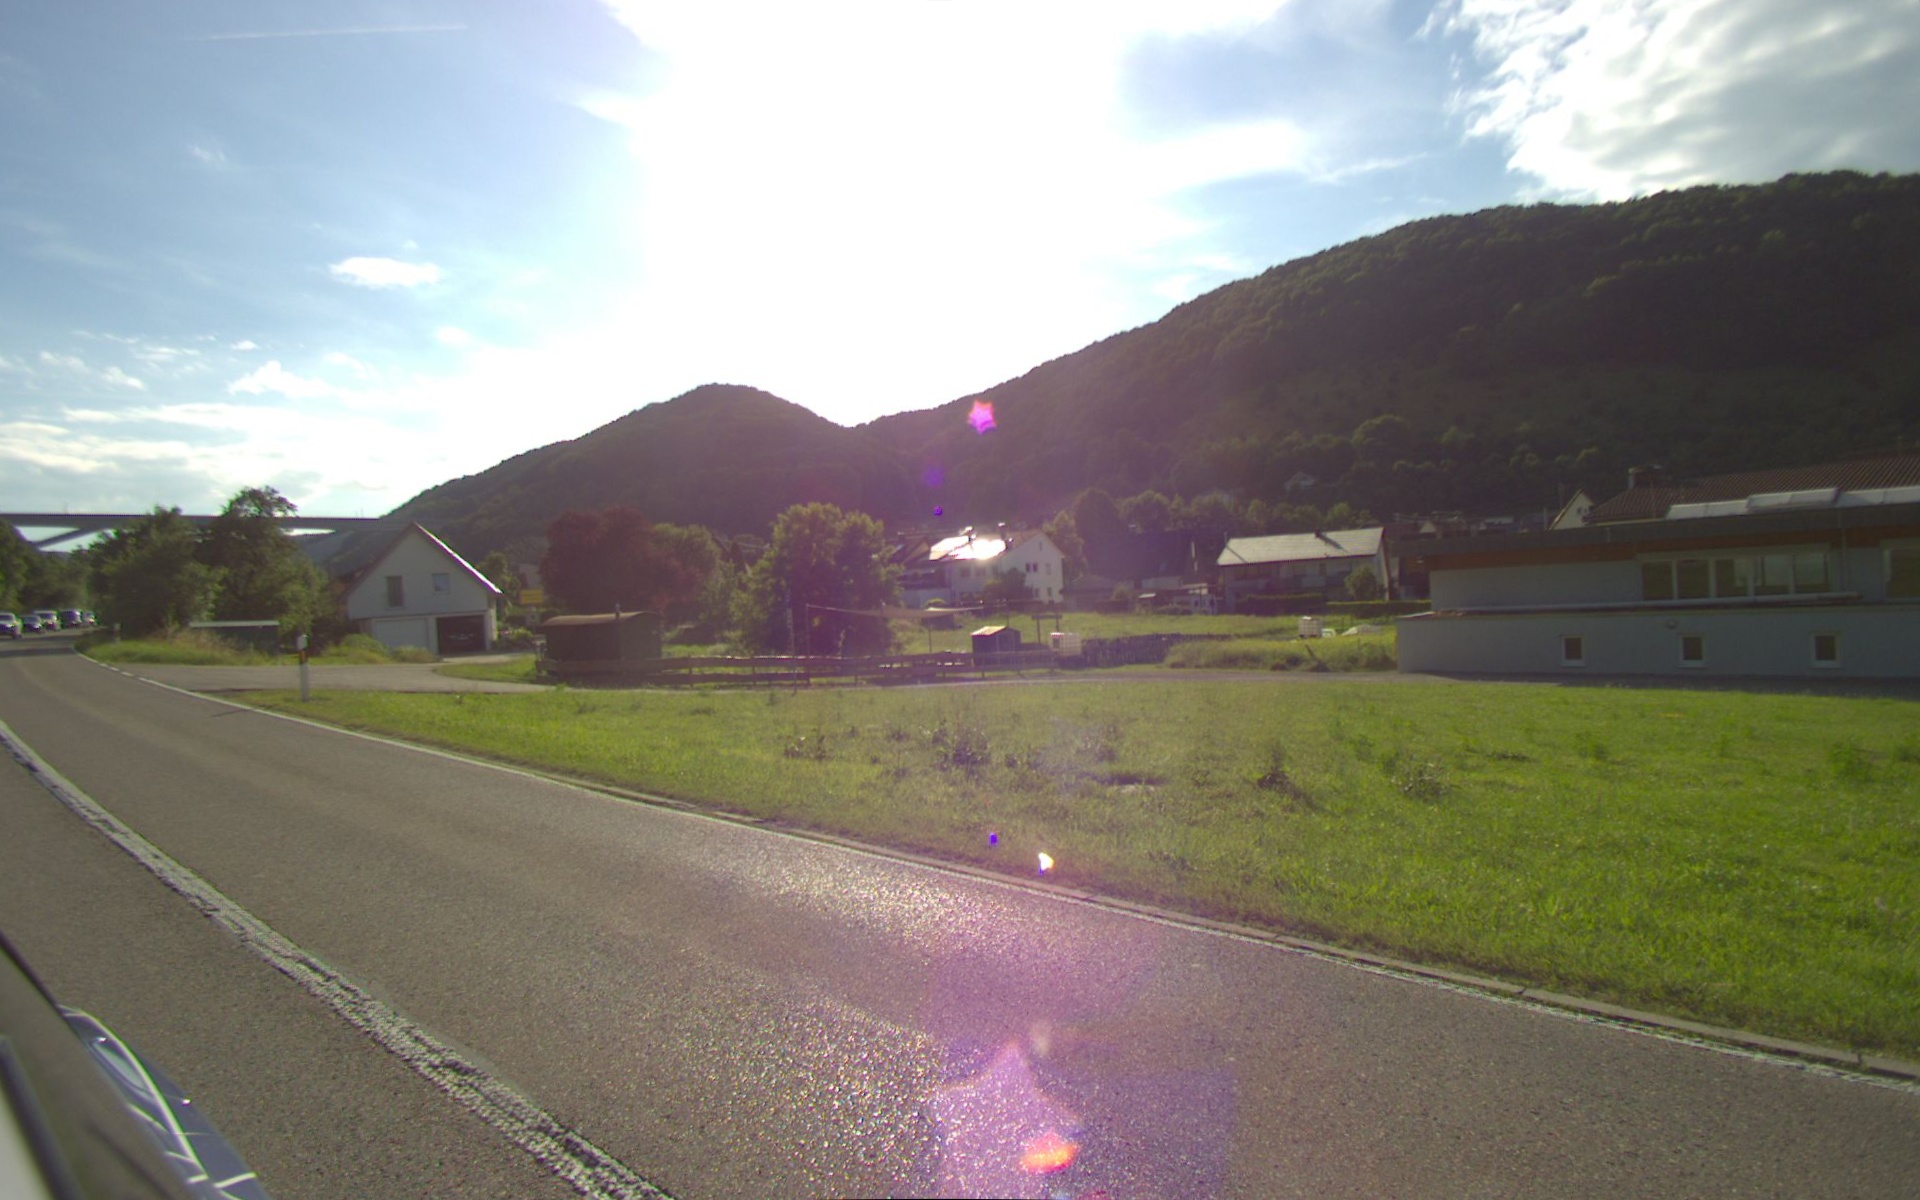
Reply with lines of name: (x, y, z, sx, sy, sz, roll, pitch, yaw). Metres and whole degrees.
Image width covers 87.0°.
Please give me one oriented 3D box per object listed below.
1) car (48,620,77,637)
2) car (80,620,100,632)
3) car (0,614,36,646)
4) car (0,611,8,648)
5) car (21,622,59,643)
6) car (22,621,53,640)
car: (-88.956, 2.821, 100.294, 1.790, 1.630, 4.009, 1, -2, -37)
car: (-112.859, 3.403, 131.284, 1.813, 1.564, 4.186, 1, -2, -38)
car: (-60.161, 1.885, 64.258, 1.886, 2.029, 4.007, 1, -2, -39)
car: (-54.261, 1.622, 56.111, 1.886, 2.029, 4.007, 0, -1, -40)
car: (-70.378, 2.480, 77.460, 1.813, 1.564, 4.185, 1, -2, -39)
car: (-79.579, 2.614, 87.332, 1.791, 1.630, 4.007, 1, -2, -40)
